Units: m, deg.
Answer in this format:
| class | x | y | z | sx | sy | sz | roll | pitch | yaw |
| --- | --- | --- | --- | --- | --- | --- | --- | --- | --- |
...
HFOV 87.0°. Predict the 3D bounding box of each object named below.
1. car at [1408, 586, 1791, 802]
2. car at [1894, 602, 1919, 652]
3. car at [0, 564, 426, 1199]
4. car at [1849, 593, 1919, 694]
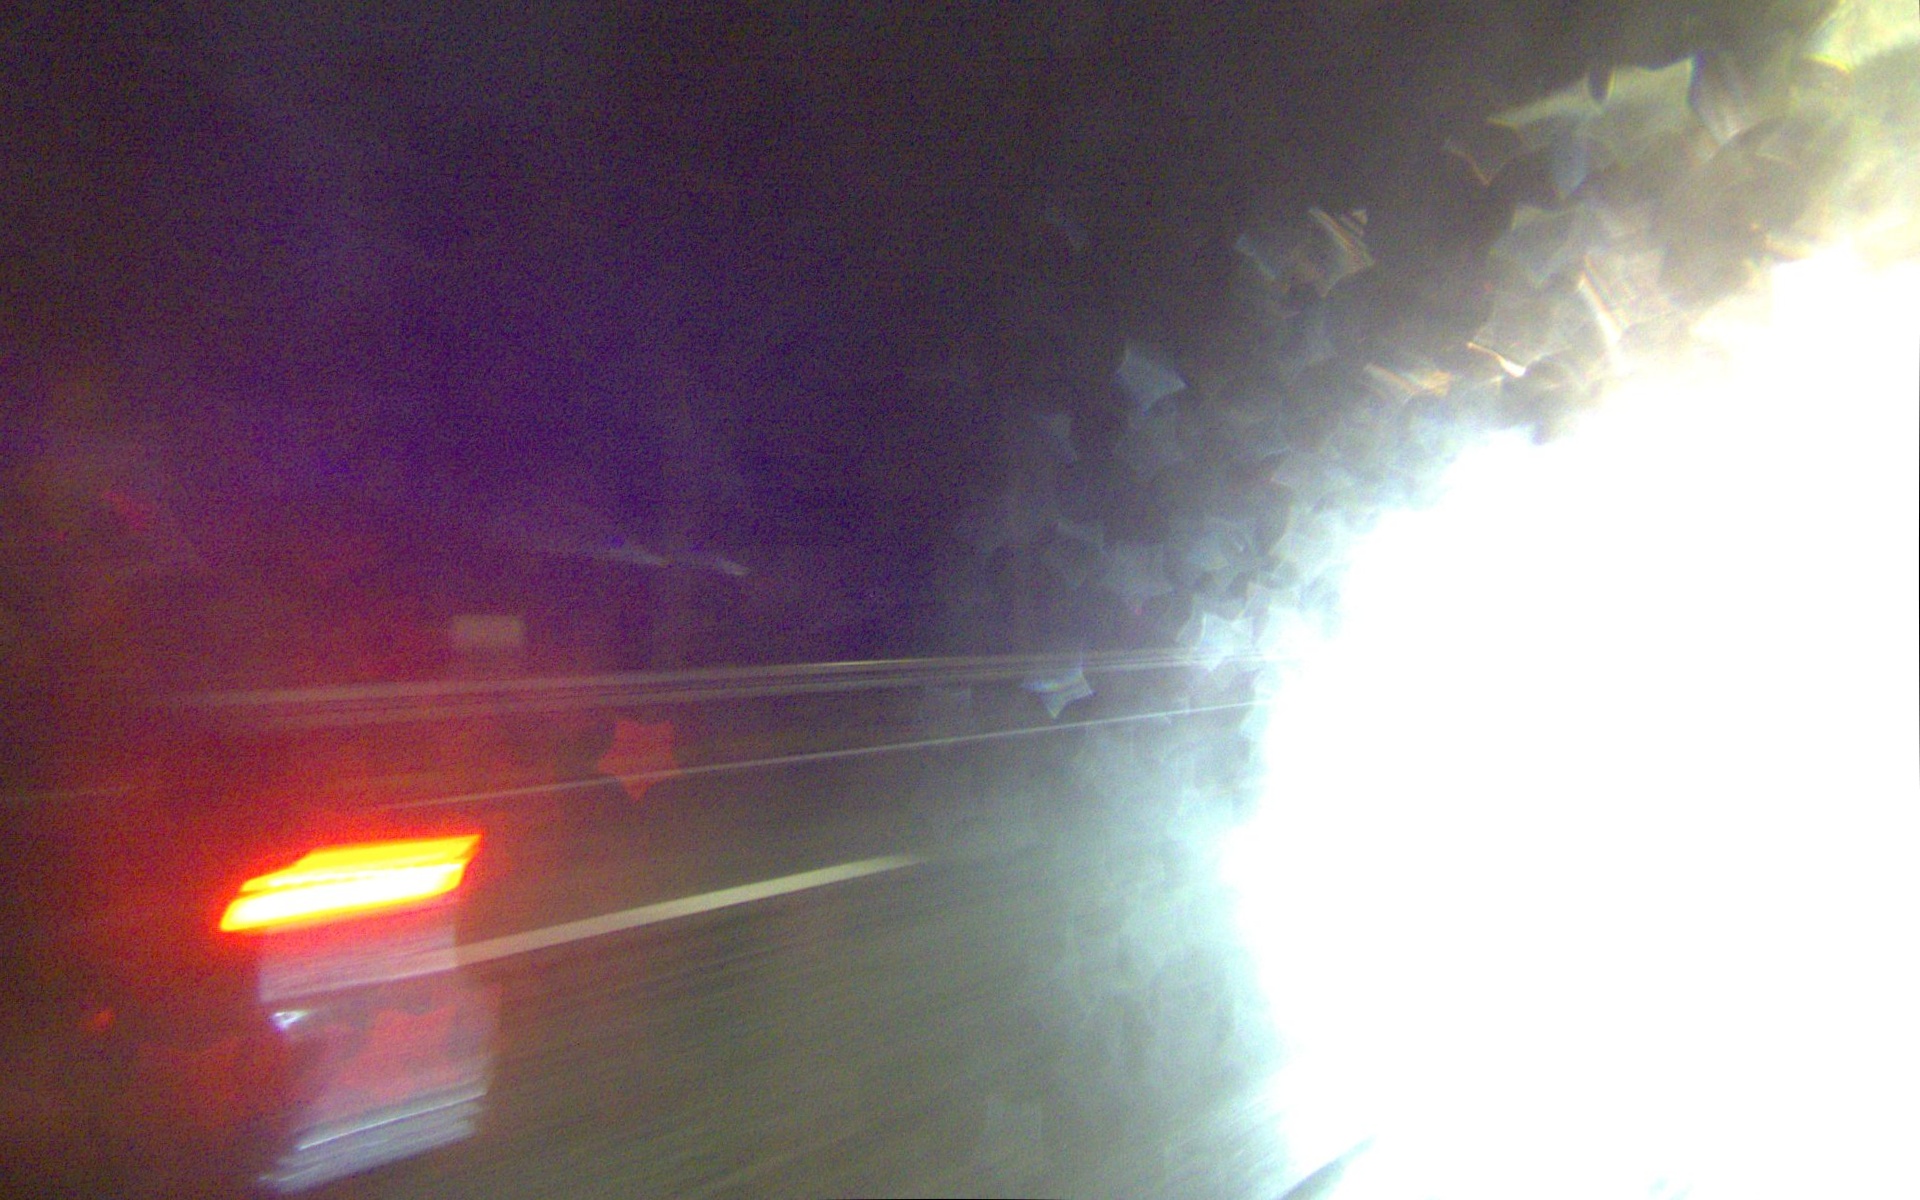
| class | x | y | z | sx | sy | sz | roll | pitch | yaw |
| --- | --- | --- | --- | --- | --- | --- | --- | --- | --- |
| car | 6.050 | 0.657 | 9.330 | 4.489 | 1.503 | 1.824 | 0 | 1 | -42 |
| car | 30.819 | 0.848 | 31.658 | 3.931 | 1.482 | 1.997 | 0 | 1 | -42 |
| car | -3.269 | 0.669 | 0.916 | 4.646 | 1.467 | 1.733 | 0 | 0 | -44 |
| car | 16.139 | 0.671 | 16.689 | 3.931 | 1.520 | 1.763 | 0 | 0 | -42 |
